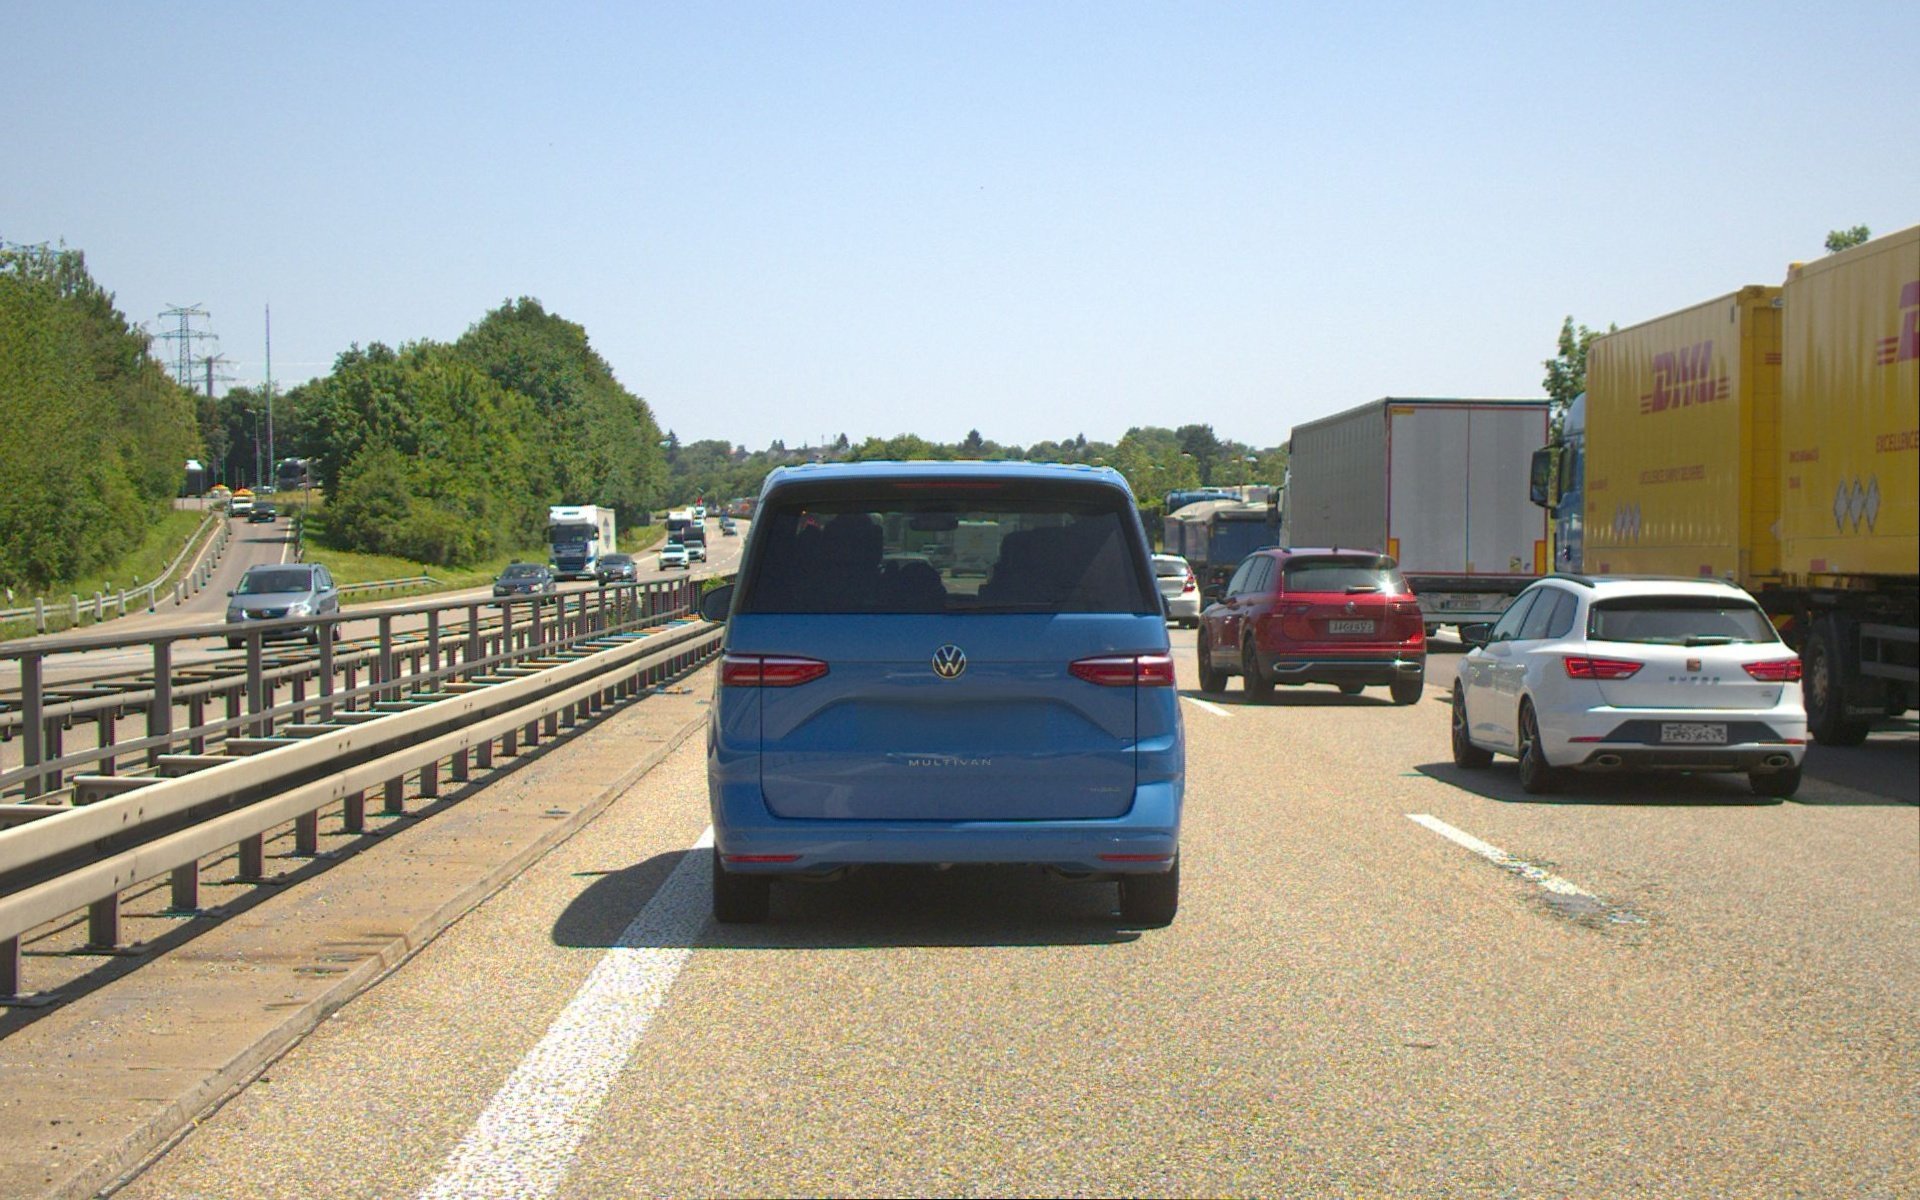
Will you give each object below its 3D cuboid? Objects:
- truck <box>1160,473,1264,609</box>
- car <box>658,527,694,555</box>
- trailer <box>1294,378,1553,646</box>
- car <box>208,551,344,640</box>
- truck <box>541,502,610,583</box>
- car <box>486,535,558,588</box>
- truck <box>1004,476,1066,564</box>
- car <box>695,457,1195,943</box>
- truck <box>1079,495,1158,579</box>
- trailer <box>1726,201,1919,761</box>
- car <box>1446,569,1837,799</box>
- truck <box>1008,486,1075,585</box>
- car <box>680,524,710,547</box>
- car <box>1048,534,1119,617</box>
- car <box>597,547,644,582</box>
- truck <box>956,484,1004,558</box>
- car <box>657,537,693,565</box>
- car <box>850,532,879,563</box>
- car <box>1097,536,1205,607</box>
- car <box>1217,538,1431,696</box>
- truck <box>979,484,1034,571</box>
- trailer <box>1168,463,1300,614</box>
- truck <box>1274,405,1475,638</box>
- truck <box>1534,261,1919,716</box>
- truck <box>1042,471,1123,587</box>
[{"bbox_3d":[7.102,-1.646,97.531,2.367,3.709,6.034,1,0,-1],"label":"truck"},{"bbox_3d":[-18.239,-3.791,221.038,1.922,1.683,4.122,-3,1,-1],"label":"car"},{"bbox_3d":[7.738,-1.401,59.003,2.755,4.132,11.312,1,0,-1],"label":"trailer"},{"bbox_3d":[-13.538,-0.117,68.277,1.829,1.604,4.169,-4,1,-1],"label":"car"},{"bbox_3d":[-20.947,-3.118,187.759,2.989,4.264,7.189,-1,1,-1],"label":"truck"},{"bbox_3d":[-14.281,-1.268,112.261,1.829,1.604,4.169,-3,1,-1],"label":"car"},{"bbox_3d":[4.336,-4.619,201.576,2.833,4.869,13.221,1,0,-2],"label":"truck"},{"bbox_3d":[-0.070,0.346,14.966,1.882,1.831,4.000,0,1,0],"label":"car"},{"bbox_3d":[6.256,-2.451,136.809,2.355,3.207,9.742,1,0,-2],"label":"truck"},{"bbox_3d":[8.215,-0.851,26.244,2.701,4.010,8.930,1,0,0],"label":"trailer"},{"bbox_3d":[4.482,0.497,23.218,1.781,1.382,4.188,0,1,0],"label":"car"},{"bbox_3d":[4.231,-3.339,181.136,2.833,5.023,11.818,1,0,-2],"label":"truck"},{"bbox_3d":[-20.030,-4.876,260.001,1.922,1.683,4.122,-3,1,-1],"label":"car"},{"bbox_3d":[3.072,-0.618,86.128,1.583,2.007,3.493,1,0,-1],"label":"car"},{"bbox_3d":[-16.161,-1.692,163.767,1.829,1.604,4.169,-1,1,-1],"label":"car"},{"bbox_3d":[1.406,-5.517,244.253,2.833,5.023,12.914,1,0,-2],"label":"truck"},{"bbox_3d":[-18.308,-3.167,220.857,1.922,1.683,4.122,-3,1,-1],"label":"car"},{"bbox_3d":[-6.045,-3.335,217.417,1.739,1.904,3.681,1,0,-1],"label":"car"},{"bbox_3d":[3.868,-0.601,70.140,1.838,1.409,4.000,0,1,-2],"label":"car"},{"bbox_3d":[3.851,0.142,36.956,1.851,1.603,4.000,0,1,0],"label":"car"},{"bbox_3d":[2.906,-4.563,219.689,2.833,5.354,12.556,1,0,-2],"label":"truck"},{"bbox_3d":[7.197,-1.581,91.582,2.379,3.731,11.189,1,0,-1],"label":"trailer"},{"bbox_3d":[7.669,-1.424,64.431,2.768,4.081,6.984,1,0,-1],"label":"truck"},{"bbox_3d":[8.242,-1.026,35.899,2.722,4.041,10.336,1,0,0],"label":"truck"},{"bbox_3d":[5.492,-3.159,156.013,2.833,5.023,11.147,1,0,-2],"label":"truck"}]
